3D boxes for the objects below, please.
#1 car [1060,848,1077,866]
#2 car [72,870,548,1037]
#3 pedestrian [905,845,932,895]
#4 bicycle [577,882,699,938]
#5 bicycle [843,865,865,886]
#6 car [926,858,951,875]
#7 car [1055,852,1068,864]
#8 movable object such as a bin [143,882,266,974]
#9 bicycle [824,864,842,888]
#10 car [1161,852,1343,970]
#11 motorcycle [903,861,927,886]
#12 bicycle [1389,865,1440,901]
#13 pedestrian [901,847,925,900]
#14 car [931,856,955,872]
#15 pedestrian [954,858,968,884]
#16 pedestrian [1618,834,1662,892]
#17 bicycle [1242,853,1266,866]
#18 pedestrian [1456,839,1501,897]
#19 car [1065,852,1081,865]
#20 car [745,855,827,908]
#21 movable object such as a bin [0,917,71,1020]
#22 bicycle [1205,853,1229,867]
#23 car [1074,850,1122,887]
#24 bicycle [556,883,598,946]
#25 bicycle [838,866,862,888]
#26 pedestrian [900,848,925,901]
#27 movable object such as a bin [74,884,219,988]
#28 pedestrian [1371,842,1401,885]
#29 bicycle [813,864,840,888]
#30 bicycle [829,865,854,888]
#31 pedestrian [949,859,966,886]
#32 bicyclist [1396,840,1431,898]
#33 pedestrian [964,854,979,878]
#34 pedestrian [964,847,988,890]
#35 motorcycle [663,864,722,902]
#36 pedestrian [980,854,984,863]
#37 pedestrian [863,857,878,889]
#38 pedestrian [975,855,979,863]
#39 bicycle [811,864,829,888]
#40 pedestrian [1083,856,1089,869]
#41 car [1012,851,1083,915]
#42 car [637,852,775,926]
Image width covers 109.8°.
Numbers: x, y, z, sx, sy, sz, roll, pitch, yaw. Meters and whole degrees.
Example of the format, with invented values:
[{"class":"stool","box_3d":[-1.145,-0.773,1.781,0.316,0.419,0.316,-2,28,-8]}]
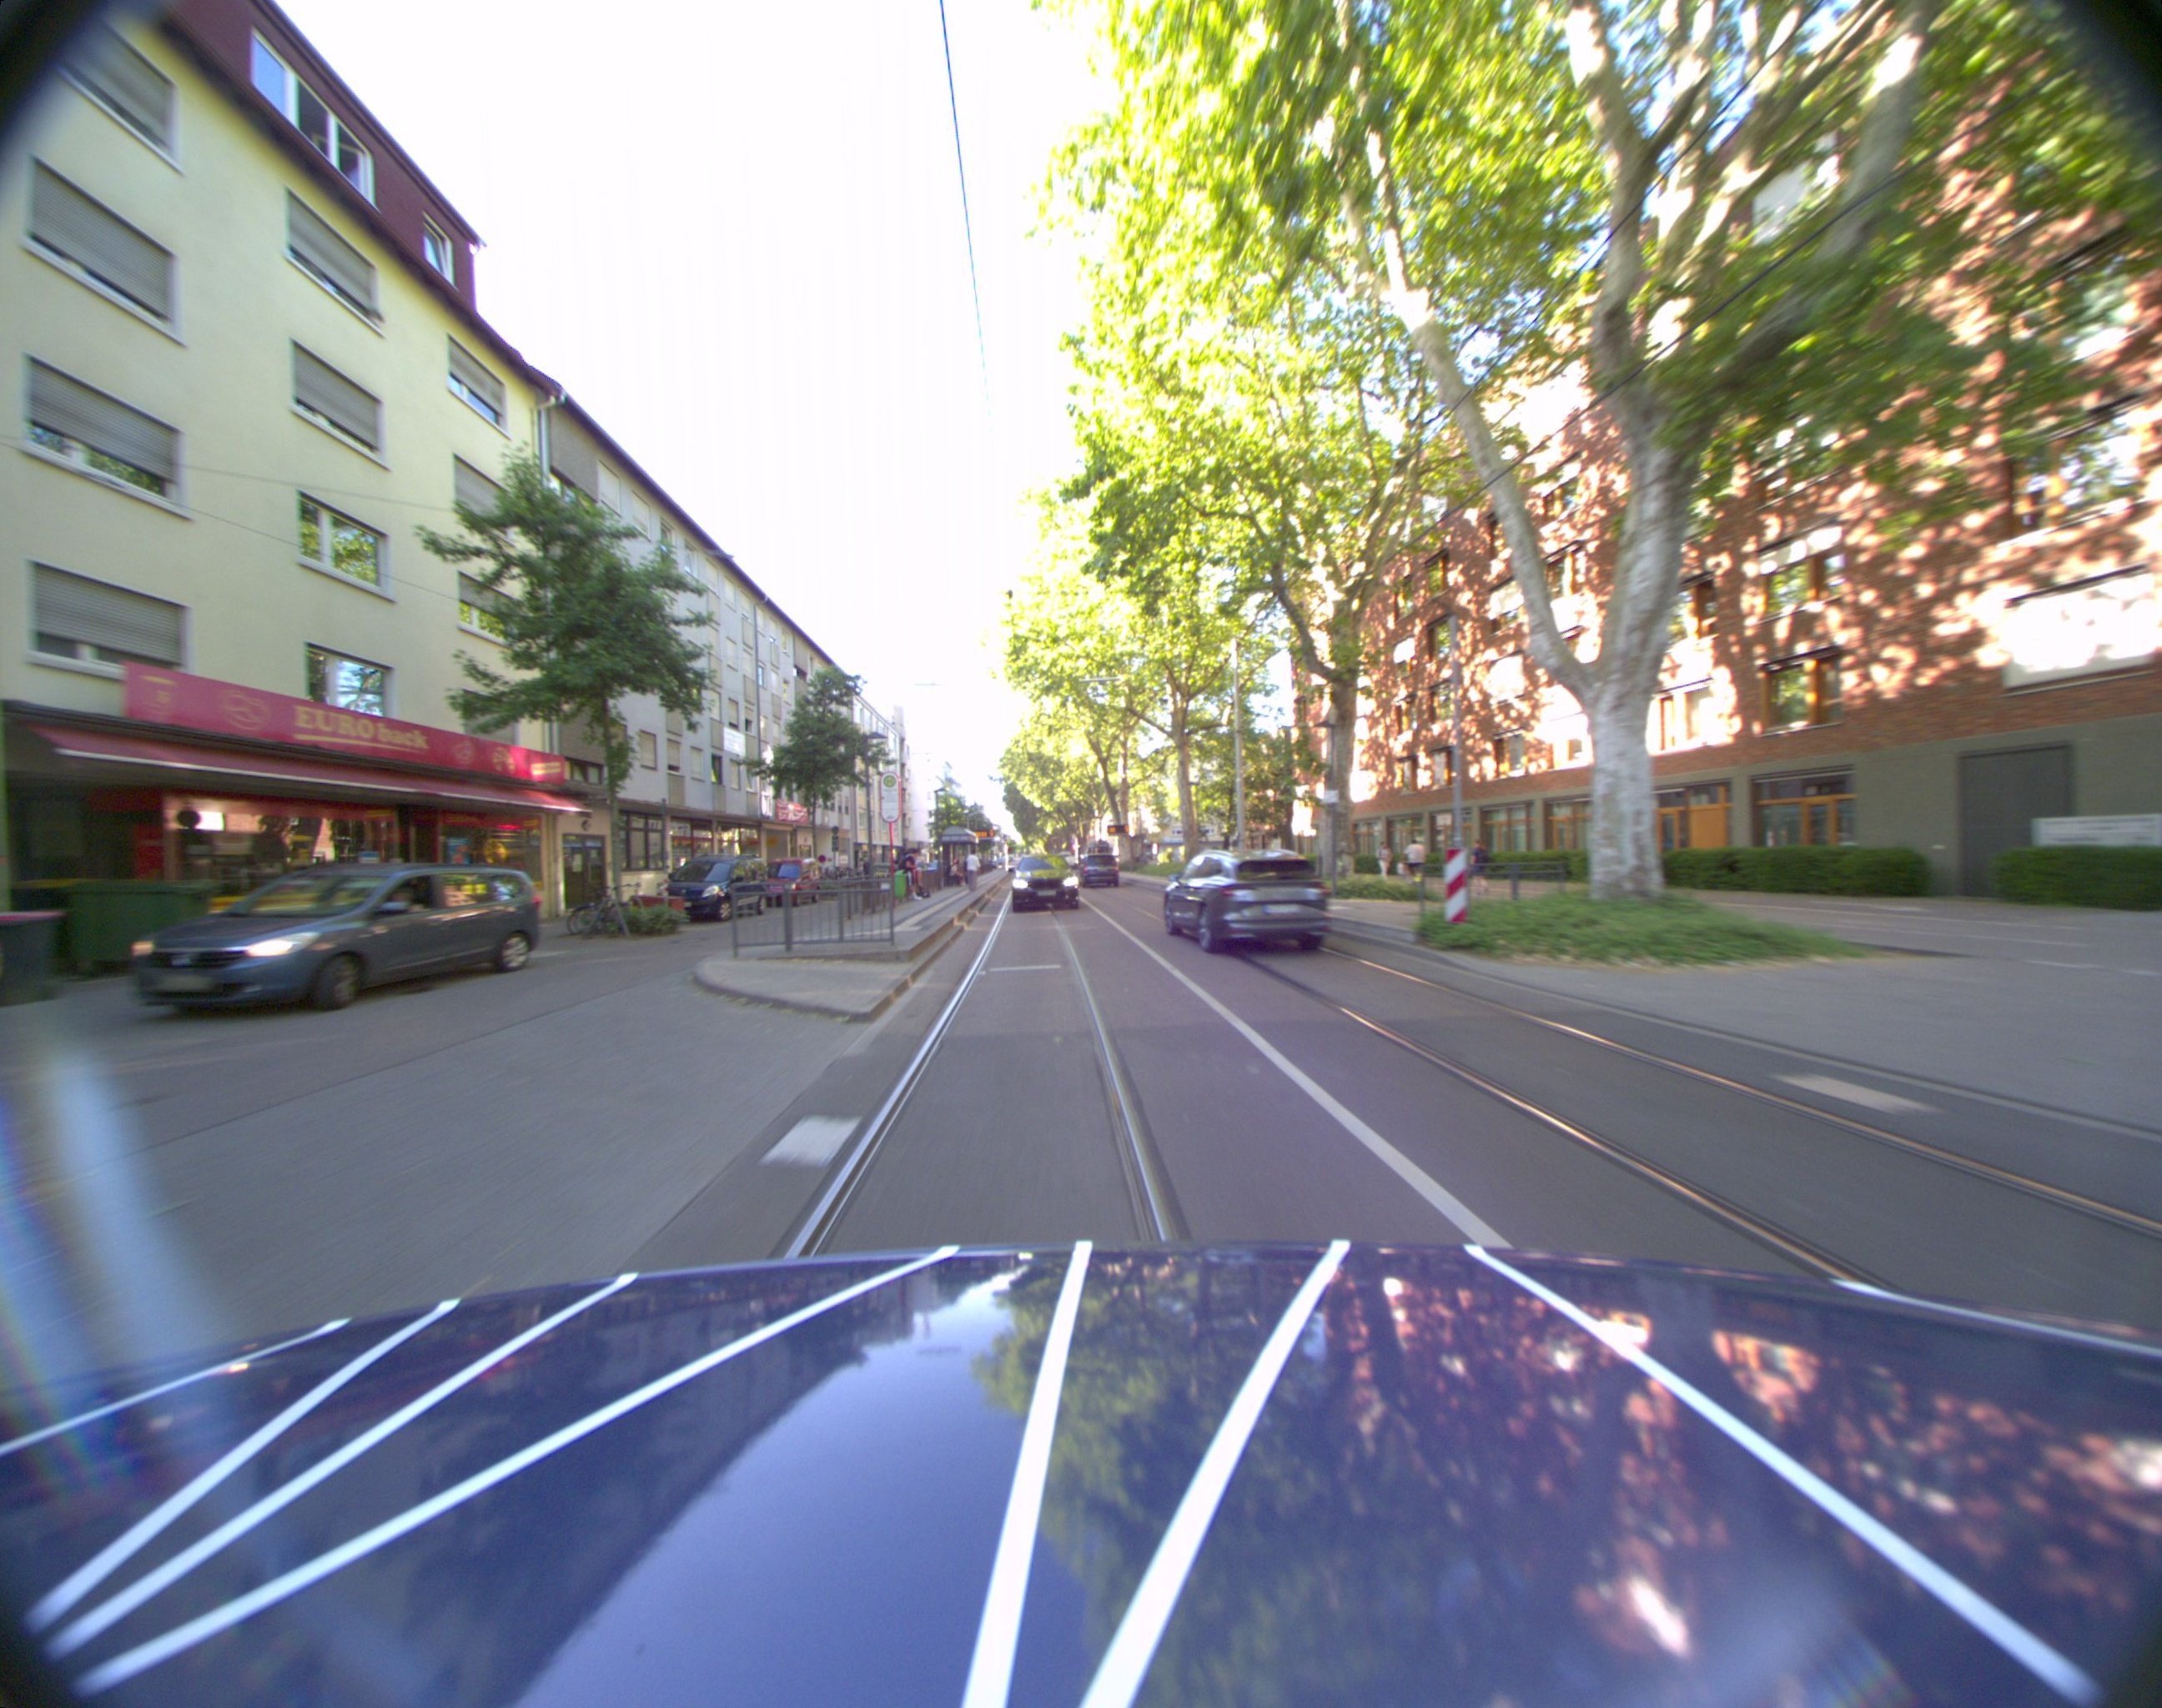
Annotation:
[{"class":"car","box_3d":[-2.175,0.545,128.569,2.430,2.833,5.070,-3,1,-4]},{"class":"car","box_3d":[-9.305,1.044,9.864,1.767,1.612,4.441,0,0,-2]},{"class":"pedestrian","box_3d":[-5.726,0.565,26.826,0.847,1.691,0.692,-3,1,-10]},{"class":"bicycle","box_3d":[-10.261,1.280,17.682,2.210,1.202,1.029,0,1,-4]},{"class":"bicycle","box_3d":[-13.582,1.305,45.594,0.773,1.173,2.781,3,-2,-8]},{"class":"car","box_3d":[-13.746,1.218,73.423,1.899,1.477,3.998,-3,0,-4]},{"class":"car","box_3d":[-3.780,0.768,146.477,2.143,2.274,4.963,-3,1,-4]},{"class":"movable object such as a bin","box_3d":[-13.684,1.135,11.895,0.926,1.342,0.824,0,1,-6]},{"class":"bicycle","box_3d":[-13.398,1.184,40.978,0.774,1.173,2.778,4,-2,-20]},{"class":"car","box_3d":[2.651,0.792,12.894,1.913,1.628,4.319,-1,0,-3]},{"class":"motorcycle","box_3d":[-10.257,1.176,47.084,1.055,1.446,2.207,-3,1,-4]},{"class":"bicycle","box_3d":[10.690,0.904,24.433,0.717,1.057,1.839,-3,1,-2]},{"class":"pedestrian","box_3d":[-5.775,0.665,26.100,0.493,1.760,0.704,-2,1,11]},{"class":"car","box_3d":[-14.295,1.029,78.912,1.999,1.572,3.998,-3,0,-4]},{"class":"pedestrian","box_3d":[-6.065,0.855,38.405,0.586,1.297,0.526,-3,1,-14]},{"class":"pedestrian","box_3d":[15.656,0.247,21.299,0.666,1.564,0.715,-3,1,-4]},{"class":"bicycle","box_3d":[15.698,0.520,68.937,0.823,1.088,2.033,-3,1,-42]},{"class":"pedestrian","box_3d":[11.745,0.399,22.463,0.740,1.662,0.968,-3,1,-2]},{"class":"car","box_3d":[-1.225,0.646,118.433,2.041,1.881,5.070,-3,0,-4]},{"class":"car","box_3d":[-11.034,0.968,28.742,1.694,1.745,4.171,4,0,-5]},{"class":"movable object such as a bin","box_3d":[-12.596,1.316,8.768,0.883,1.104,0.696,0,1,-6]},{"class":"bicycle","box_3d":[12.364,0.537,68.930,2.098,1.182,0.882,-2,1,13]},{"class":"car","box_3d":[0.836,0.705,40.047,1.999,1.706,5.140,-3,0,-4]},{"class":"bicycle","box_3d":[-10.996,1.278,16.612,0.686,1.202,2.205,0,1,-32]},{"class":"bicycle","box_3d":[-13.211,1.283,43.523,0.773,1.173,2.781,4,-2,-8]},{"class":"pedestrian","box_3d":[-5.624,0.678,25.396,0.690,1.745,0.579,-3,1,-10]},{"class":"movable object such as a bin","box_3d":[-13.343,1.144,10.881,1.002,1.389,0.824,0,1,-6]},{"class":"pedestrian","box_3d":[12.720,0.372,31.690,0.766,1.734,0.971,-3,1,-4]},{"class":"bicycle","box_3d":[-13.294,1.157,39.773,0.773,1.173,2.781,4,-2,-8]},{"class":"bicycle","box_3d":[-13.207,1.227,41.948,0.773,1.173,2.781,4,-2,-8]},{"class":"pedestrian","box_3d":[-6.151,0.930,37.889,0.721,1.318,0.492,-3,1,-15]},{"class":"bicyclist","box_3d":[10.675,0.469,24.415,0.702,1.777,0.838,-3,1,-2]},{"class":"pedestrian","box_3d":[-7.188,0.790,49.863,0.648,1.567,0.855,-2,1,14]},{"class":"pedestrian","box_3d":[-4.306,0.596,31.153,0.836,1.703,0.640,-3,1,-3]},{"class":"motorcycle","box_3d":[-14.401,1.055,28.268,0.955,1.309,2.649,3,-2,-6]},{"class":"pedestrian","box_3d":[-20.424,0.911,156.330,0.685,1.645,0.836,-3,1,-5]},{"class":"pedestrian","box_3d":[-12.337,1.101,44.617,0.680,1.794,0.772,-3,2,-10]},{"class":"pedestrian","box_3d":[-21.371,0.954,156.194,0.685,1.645,0.836,-3,1,-5]},{"class":"bicycle","box_3d":[-13.857,1.149,40.383,0.774,1.173,2.779,4,-2,-18]},{"class":"pedestrian","box_3d":[0.618,1.080,94.373,0.708,1.585,0.561,-3,1,-3]},{"class":"car","box_3d":[-1.085,0.804,24.021,1.938,1.718,5.071,-3,0,-3]},{"class":"car","box_3d":[-10.713,0.921,22.092,1.999,1.885,4.193,2,0,-2]}]
